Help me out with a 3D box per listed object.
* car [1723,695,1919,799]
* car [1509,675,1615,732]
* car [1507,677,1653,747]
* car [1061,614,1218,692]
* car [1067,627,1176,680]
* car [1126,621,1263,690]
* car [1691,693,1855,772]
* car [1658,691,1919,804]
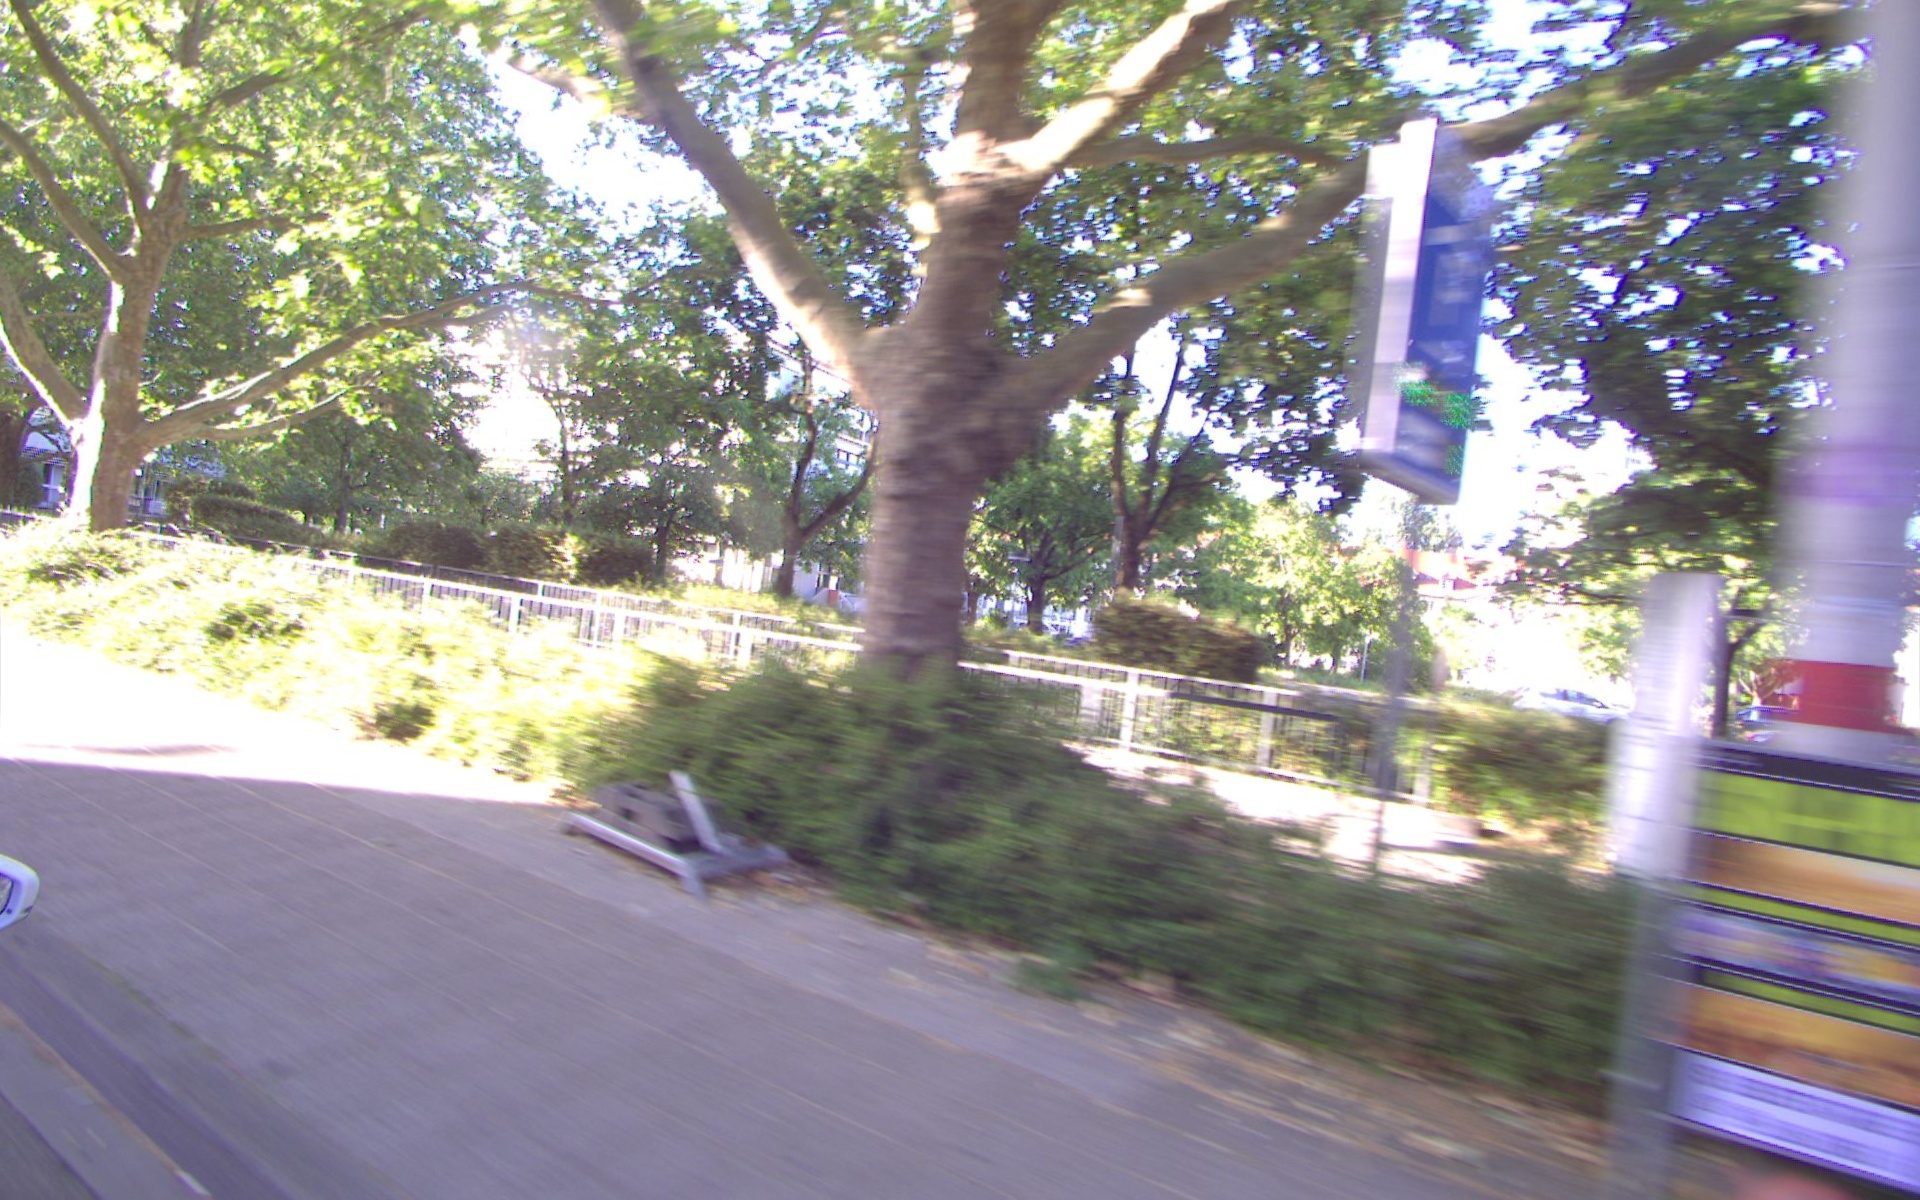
[{"bbox_3d":[21.394,3.555,24.399,4.239,1.834,1.785,7,0,31],"label":"car"},{"bbox_3d":[27.983,4.792,46.881,3.977,1.969,1.922,8,-1,31],"label":"car"},{"bbox_3d":[20.785,3.736,33.863,3.934,1.645,1.921,7,-1,32],"label":"car"},{"bbox_3d":[5.133,1.507,28.806,3.930,1.646,1.762,7,0,27],"label":"car"},{"bbox_3d":[6.823,2.259,42.597,3.934,1.645,1.921,7,-1,32],"label":"car"},{"bbox_3d":[7.633,1.796,32.880,3.934,1.645,1.551,7,-1,32],"label":"car"},{"bbox_3d":[29.675,4.780,36.913,4.239,2.114,1.785,7,0,31],"label":"car"},{"bbox_3d":[17.967,3.117,21.903,4.239,1.621,1.785,7,0,31],"label":"car"}]
